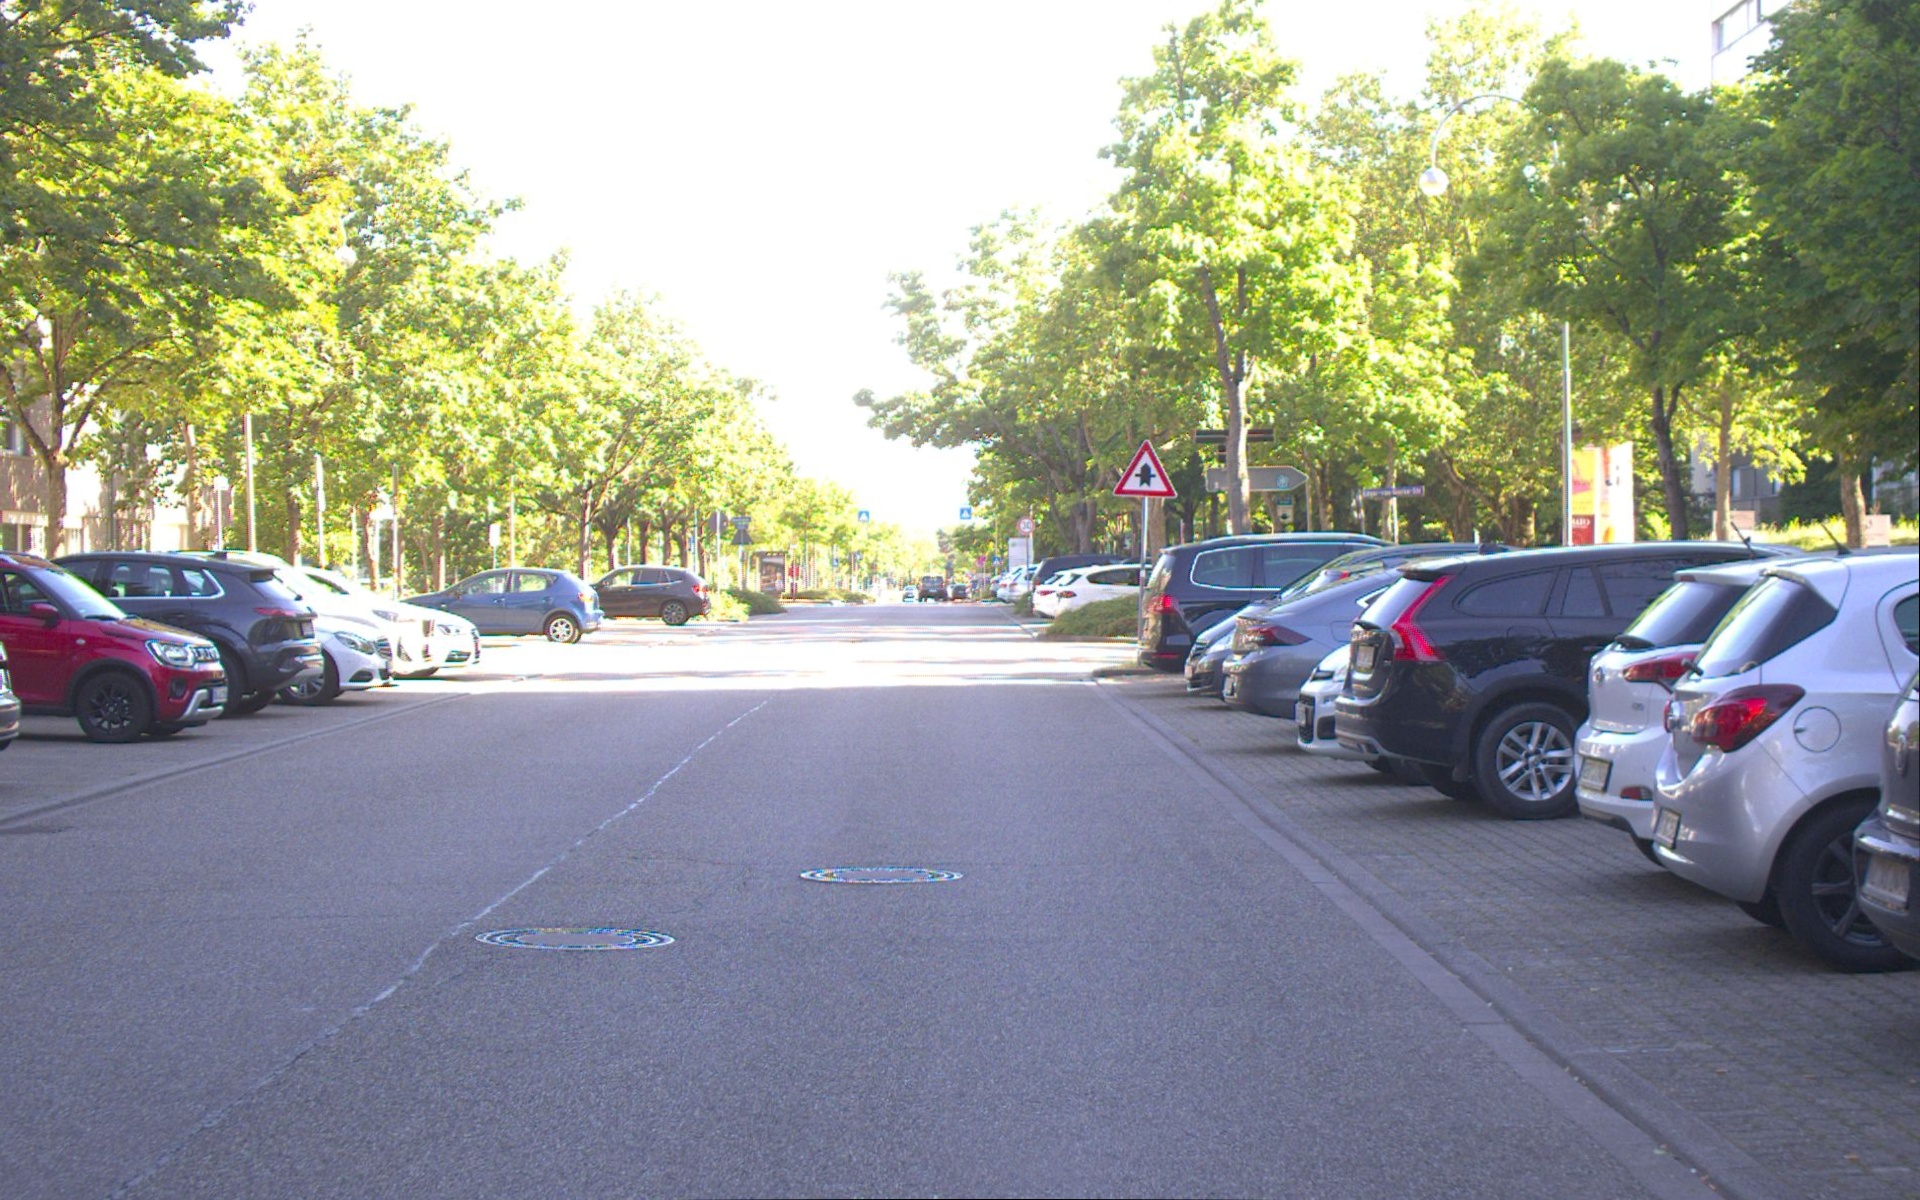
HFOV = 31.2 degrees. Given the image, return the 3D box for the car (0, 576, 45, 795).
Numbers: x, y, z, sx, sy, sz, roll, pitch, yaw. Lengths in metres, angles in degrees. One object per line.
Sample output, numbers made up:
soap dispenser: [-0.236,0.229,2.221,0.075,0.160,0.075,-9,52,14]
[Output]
car: [-8.161,0.505,22.381,3.986,1.401,1.606,1,0,-3]

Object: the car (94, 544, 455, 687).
car: [-8.376,0.179,42.217,3.987,1.648,1.860,-1,1,3]

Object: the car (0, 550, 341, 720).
car: [-8.282,0.355,33.844,3.987,1.581,1.765,-1,-1,3]

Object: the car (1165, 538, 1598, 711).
car: [4.186,0.234,34.516,4.043,1.576,1.641,-2,0,-3]

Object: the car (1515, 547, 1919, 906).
car: [4.570,0.490,15.253,3.866,1.463,1.967,-1,0,0]

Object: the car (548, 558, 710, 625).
car: [-8.528,-0.230,88.777,3.987,1.678,2.000,-1,0,-1]

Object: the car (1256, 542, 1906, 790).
car: [4.159,0.416,23.281,4.043,1.585,1.550,0,1,-7]

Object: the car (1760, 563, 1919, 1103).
car: [4.476,0.581,10.198,3.740,1.462,1.910,-2,0,1]

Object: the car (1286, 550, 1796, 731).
car: [5.001,0.335,29.928,4.043,1.416,1.737,-2,0,-4]

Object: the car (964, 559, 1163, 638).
car: [2.167,-0.043,72.503,3.986,1.619,2.000,0,0,-5]

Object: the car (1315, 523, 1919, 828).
car: [4.252,0.392,19.946,4.249,1.549,1.919,-3,0,5]

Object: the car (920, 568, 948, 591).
car: [-1.839,-1.461,242.619,1.933,1.592,4.366,-1,1,-1]

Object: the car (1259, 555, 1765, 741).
car: [4.710,0.400,29.629,4.043,1.449,1.519,-2,0,-3]

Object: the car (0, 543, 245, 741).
car: [-8.121,0.361,29.602,3.541,1.651,1.761,0,-1,2]

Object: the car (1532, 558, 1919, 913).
car: [4.630,0.524,15.313,3.752,1.444,1.880,-2,0,-3]

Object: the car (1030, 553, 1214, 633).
car: [3.688,-0.172,78.689,3.986,1.786,2.000,0,0,-5]

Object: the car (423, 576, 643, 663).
car: [-7.931,0.354,64.086,3.986,1.527,1.618,-1,1,-4]

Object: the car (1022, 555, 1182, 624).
car: [3.741,-0.279,90.849,3.986,1.786,2.000,0,0,-5]

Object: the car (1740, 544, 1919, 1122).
car: [4.433,0.584,9.992,3.882,1.521,1.895,-1,1,0]

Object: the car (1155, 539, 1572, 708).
car: [4.021,0.221,34.665,3.892,1.650,1.858,0,0,-4]

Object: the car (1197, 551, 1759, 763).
car: [3.970,0.424,26.708,4.043,1.486,1.550,-2,0,-3]

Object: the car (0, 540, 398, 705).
car: [-8.172,0.229,36.970,3.987,1.714,1.709,0,0,-1]

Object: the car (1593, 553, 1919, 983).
car: [4.336,0.536,12.720,3.635,1.462,1.633,-2,0,-1]

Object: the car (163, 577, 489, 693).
car: [-8.279,0.448,45.119,3.986,1.476,1.680,0,0,-2]

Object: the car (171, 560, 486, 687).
car: [-8.223,0.291,45.025,3.892,1.606,1.858,0,0,-5]
